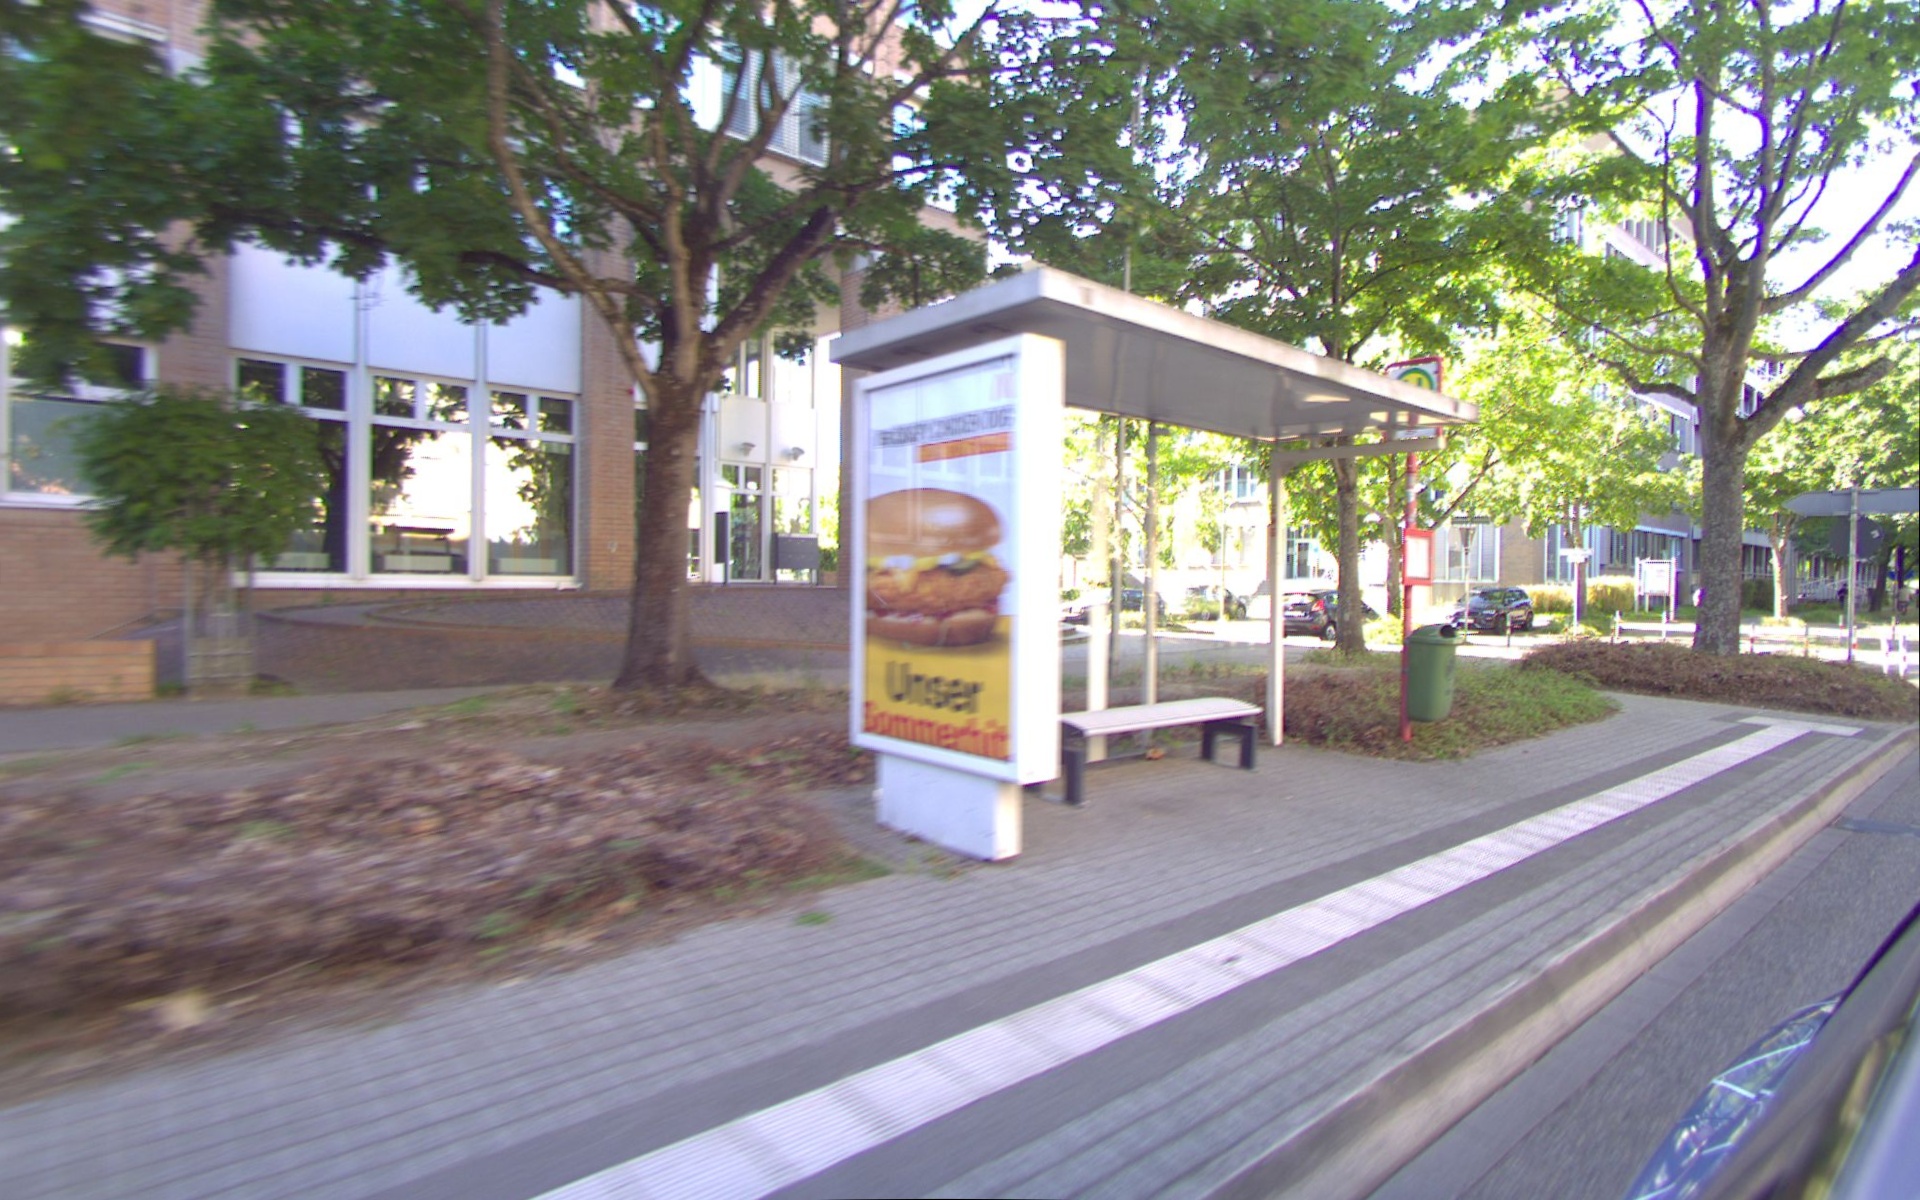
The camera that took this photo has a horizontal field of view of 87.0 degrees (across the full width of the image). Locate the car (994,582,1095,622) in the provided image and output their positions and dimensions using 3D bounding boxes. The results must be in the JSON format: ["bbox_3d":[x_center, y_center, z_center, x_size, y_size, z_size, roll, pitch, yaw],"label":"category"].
[{"bbox_3d":[3.215,0.100,38.145,3.933,1.386,1.623,3,-2,-44],"label":"car"}]

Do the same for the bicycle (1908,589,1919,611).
[{"bbox_3d":[47.918,0.007,50.608,1.885,1.091,0.535,0,1,-40],"label":"bicycle"}]

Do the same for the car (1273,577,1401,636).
[{"bbox_3d":[10.307,0.159,27.580,3.849,1.481,1.655,0,1,-41],"label":"car"}]

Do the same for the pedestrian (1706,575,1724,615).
[{"bbox_3d":[30.360,-0.205,40.688,0.537,1.602,0.639,1,1,40],"label":"pedestrian"}]

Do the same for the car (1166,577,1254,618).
[{"bbox_3d":[11.295,-0.144,45.641,3.926,1.604,1.704,-4,3,-35],"label":"car"}]

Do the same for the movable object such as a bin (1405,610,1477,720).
[{"bbox_3d":[3.585,0.473,7.541,0.459,0.763,0.299,-1,3,-41],"label":"movable object such as a bin"}]

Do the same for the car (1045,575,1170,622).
[{"bbox_3d":[4.975,-0.066,33.802,4.194,1.479,1.694,0,1,-38],"label":"car"}]

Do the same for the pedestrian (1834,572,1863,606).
[{"bbox_3d":[47.259,-0.584,53.824,1.001,1.821,1.036,0,0,-42],"label":"pedestrian"}]

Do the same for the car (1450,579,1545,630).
[{"bbox_3d":[19.155,0.101,35.986,4.295,1.585,1.739,-3,2,-43],"label":"car"}]

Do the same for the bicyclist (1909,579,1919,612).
[{"bbox_3d":[47.927,-0.229,50.615,0.808,1.657,0.538,0,1,-40],"label":"bicyclist"}]
